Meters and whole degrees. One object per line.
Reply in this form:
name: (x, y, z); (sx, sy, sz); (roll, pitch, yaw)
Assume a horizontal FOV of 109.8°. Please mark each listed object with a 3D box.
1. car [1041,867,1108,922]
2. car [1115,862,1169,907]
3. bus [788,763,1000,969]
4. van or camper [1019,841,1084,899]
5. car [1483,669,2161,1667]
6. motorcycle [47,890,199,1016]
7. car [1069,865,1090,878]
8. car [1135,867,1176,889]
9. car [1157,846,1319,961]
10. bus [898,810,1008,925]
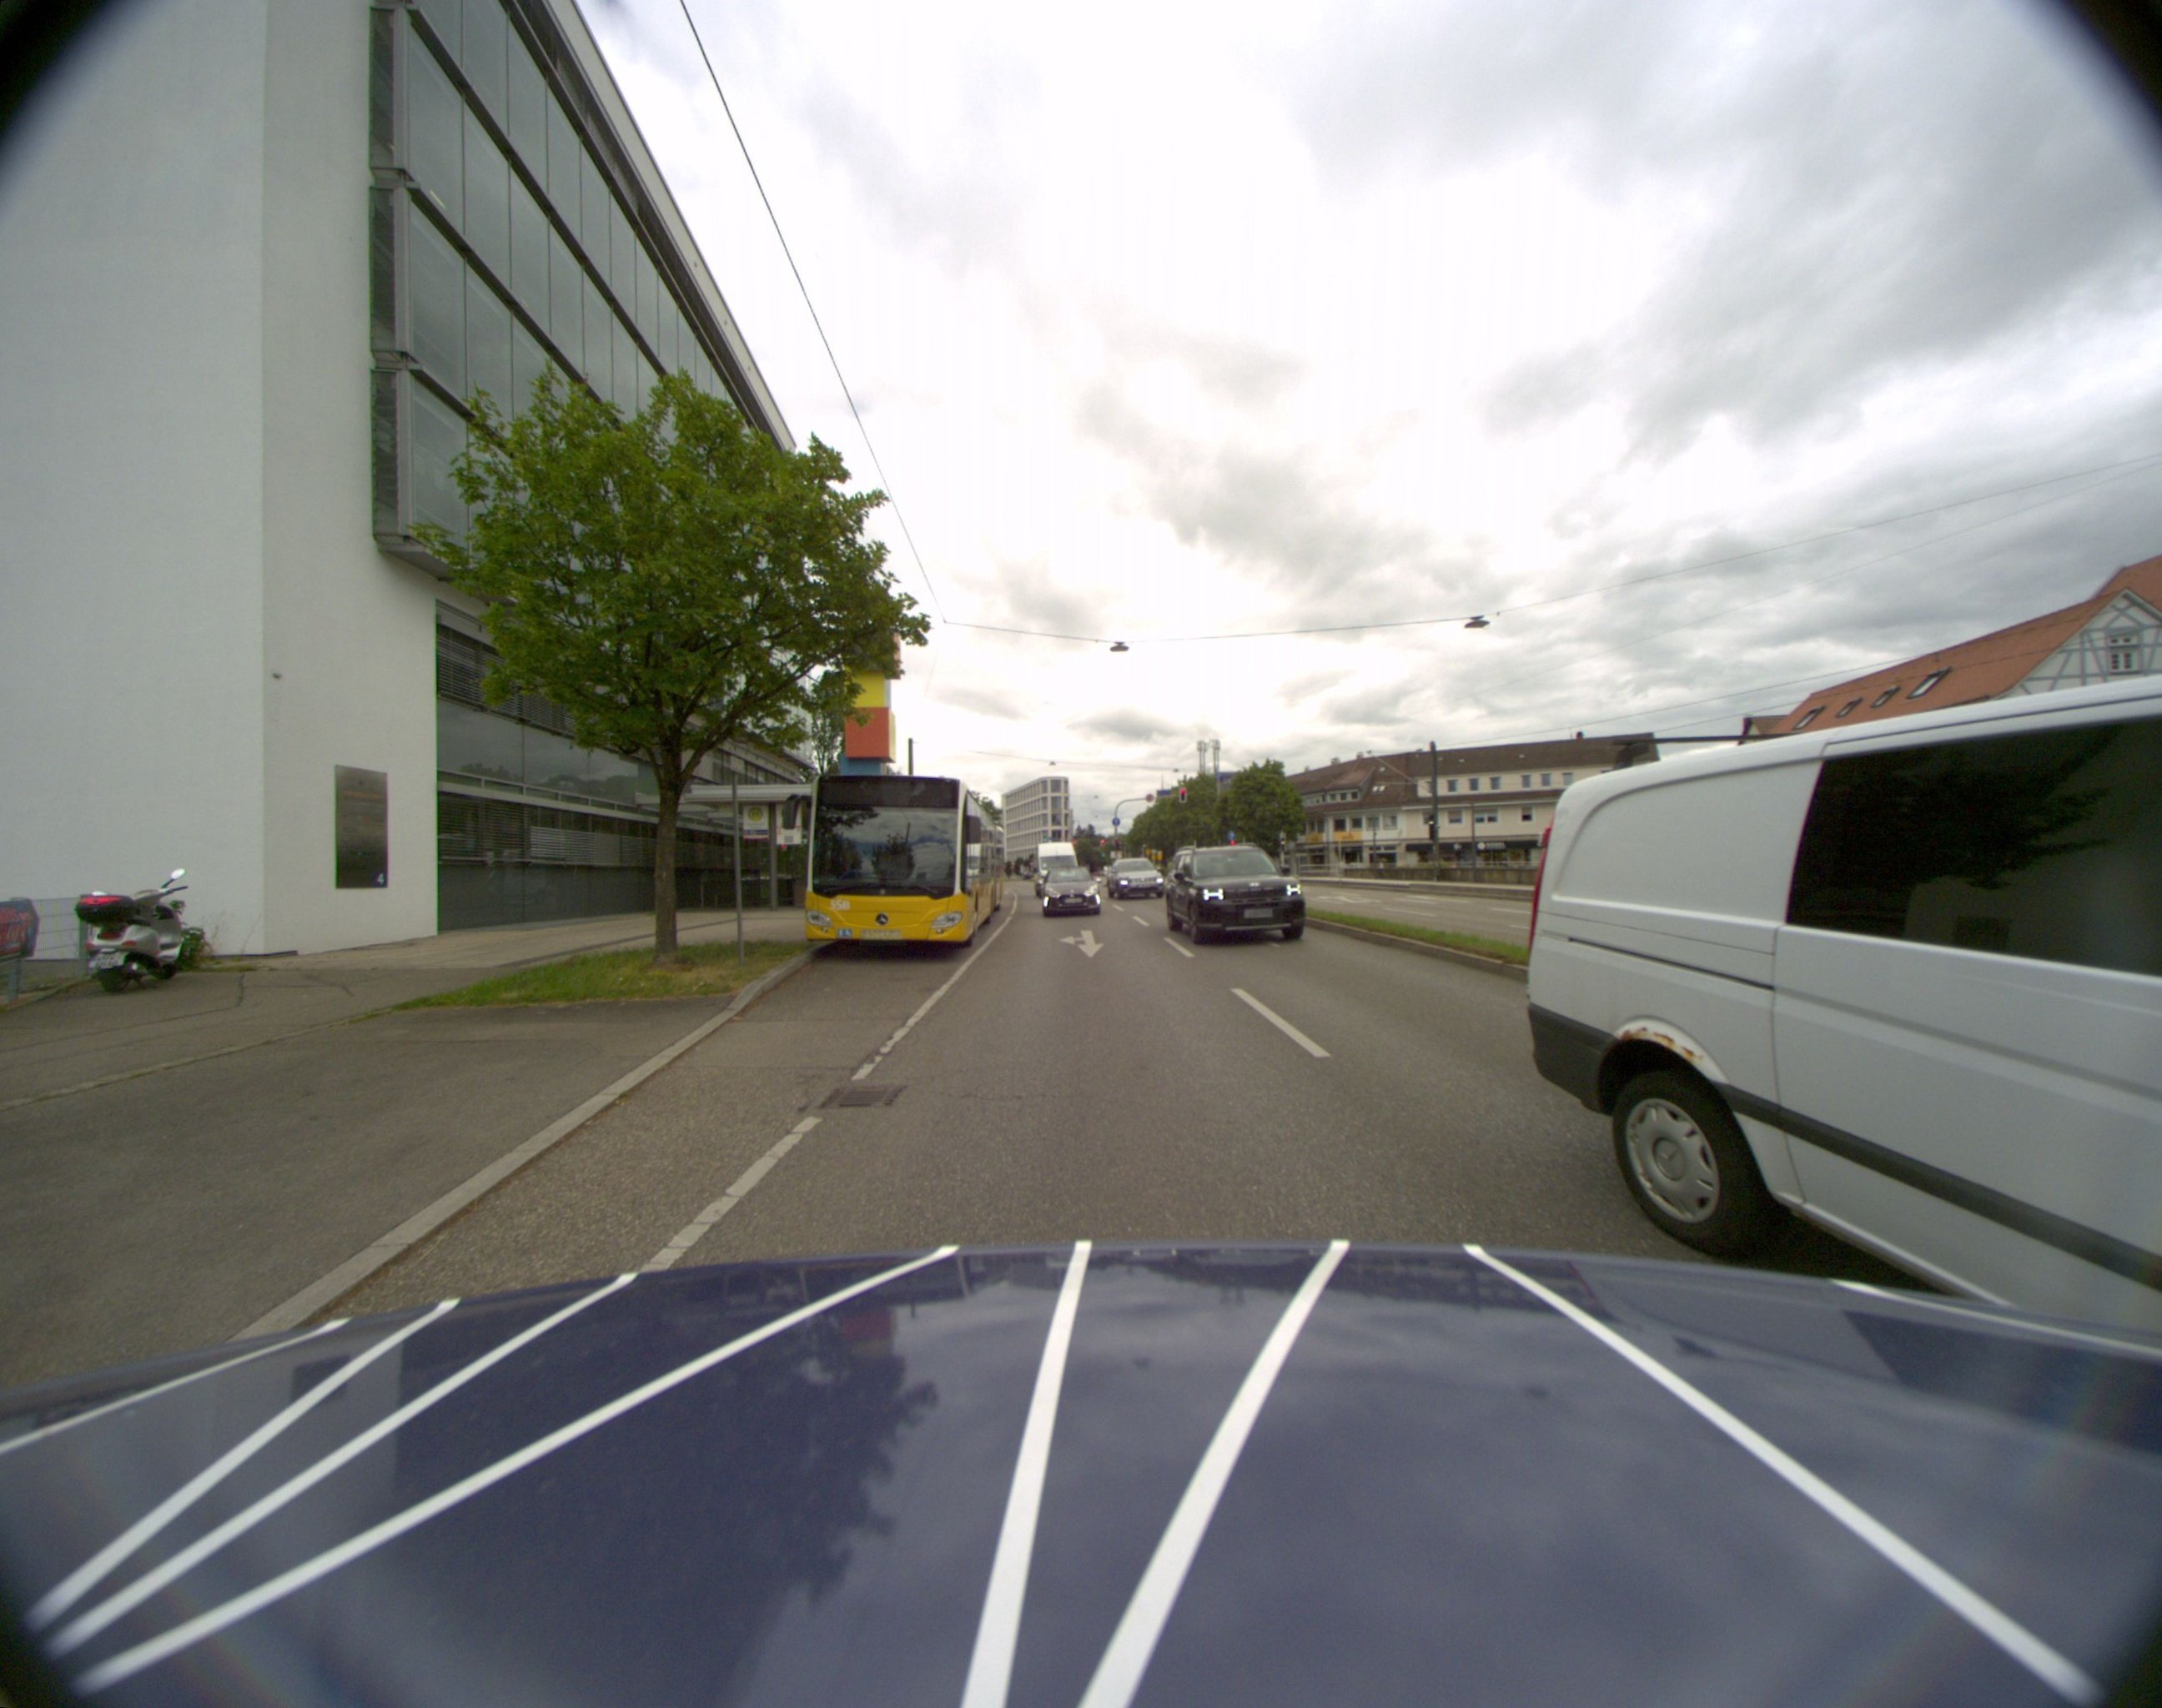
car: (-0.241, 1.189, 23.650); (1.863, 1.516, 4.000); (-1, -1, -2)
car: (2.489, 1.202, 31.550); (1.998, 1.640, 4.395); (-3, 0, 3)
bus: (-3.347, 0.252, 16.238); (2.720, 3.145, 9.126); (0, -1, -3)
van or camper: (-1.629, 0.779, 38.828); (2.282, 2.690, 6.989); (-1, -1, -11)
car: (3.067, 0.585, 1.313); (1.878, 2.001, 5.076); (-4, -1, -1)
motorcycle: (-10.653, 1.042, 8.513); (0.585, 1.214, 1.578); (-1, 0, -34)
car: (-0.213, 2.030, 88.520); (1.999, 1.348, 4.809); (-1, -1, -4)
car: (5.239, 1.672, 54.151); (2.000, 1.503, 4.642); (-1, -1, -6)
car: (2.795, 0.816, 14.704); (1.927, 1.741, 4.677); (-4, 0, -2)
bus: (-3.917, 0.416, 25.179); (2.720, 3.090, 8.867); (-1, -1, -4)
